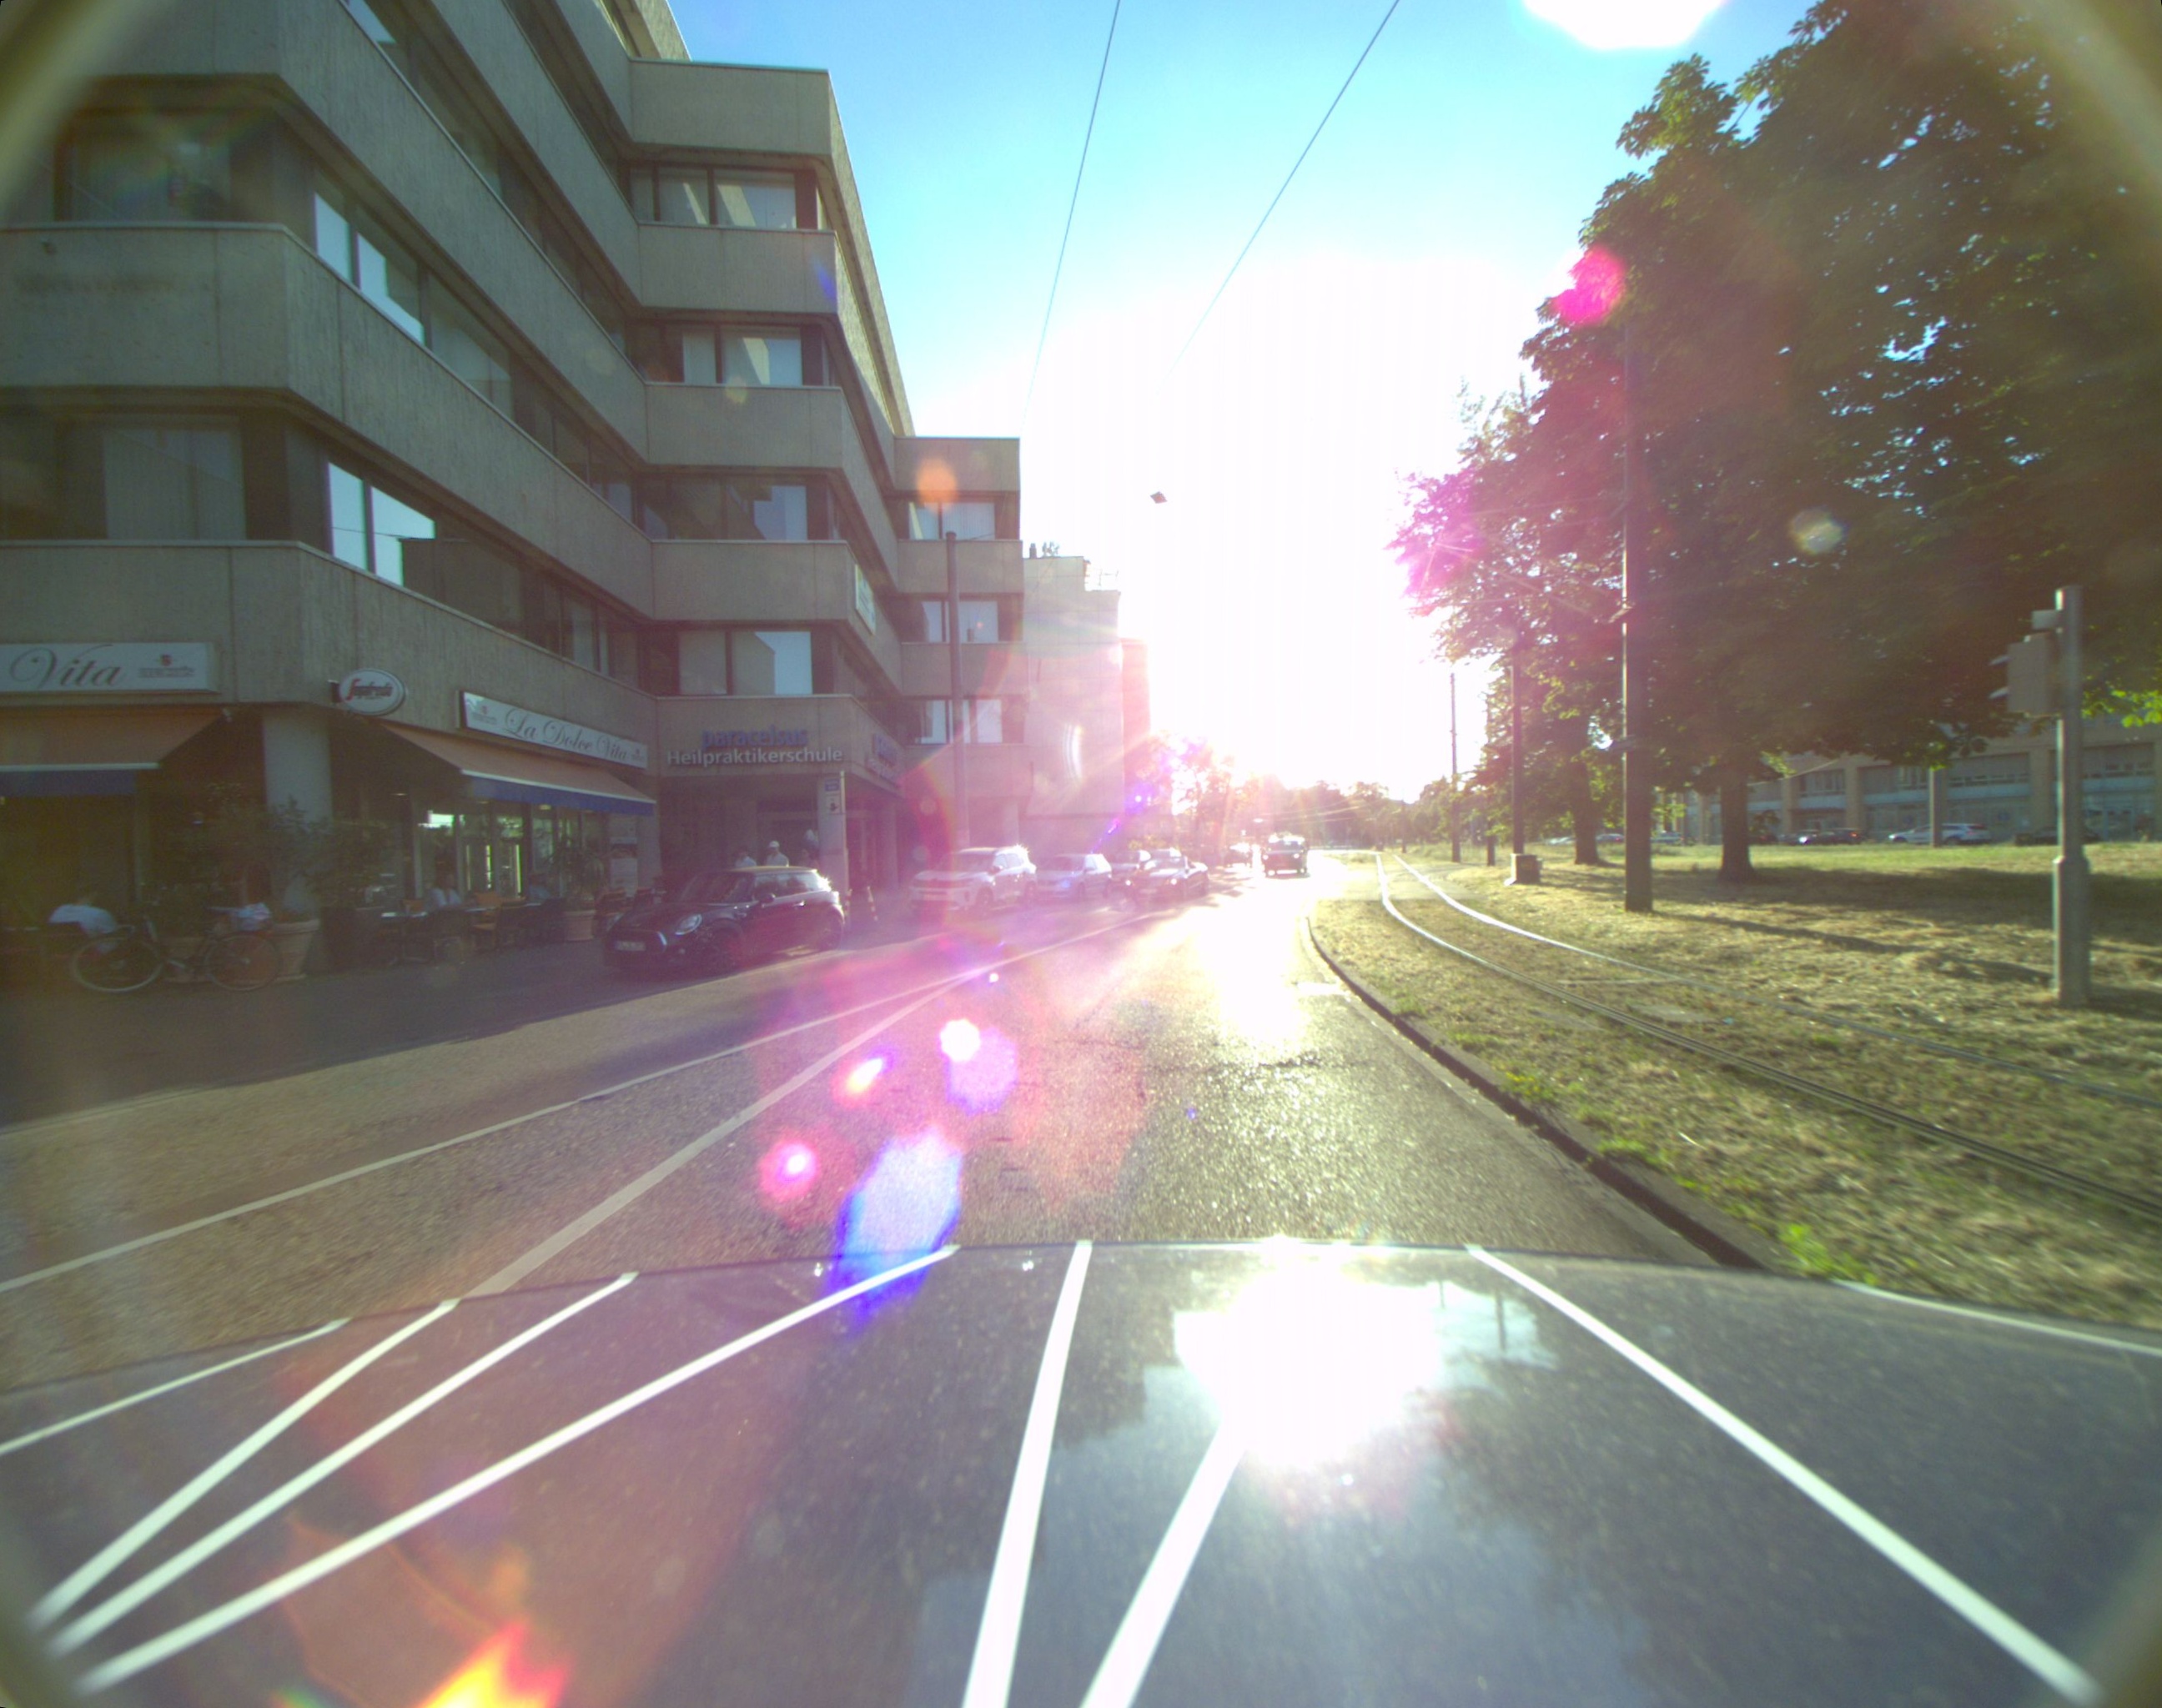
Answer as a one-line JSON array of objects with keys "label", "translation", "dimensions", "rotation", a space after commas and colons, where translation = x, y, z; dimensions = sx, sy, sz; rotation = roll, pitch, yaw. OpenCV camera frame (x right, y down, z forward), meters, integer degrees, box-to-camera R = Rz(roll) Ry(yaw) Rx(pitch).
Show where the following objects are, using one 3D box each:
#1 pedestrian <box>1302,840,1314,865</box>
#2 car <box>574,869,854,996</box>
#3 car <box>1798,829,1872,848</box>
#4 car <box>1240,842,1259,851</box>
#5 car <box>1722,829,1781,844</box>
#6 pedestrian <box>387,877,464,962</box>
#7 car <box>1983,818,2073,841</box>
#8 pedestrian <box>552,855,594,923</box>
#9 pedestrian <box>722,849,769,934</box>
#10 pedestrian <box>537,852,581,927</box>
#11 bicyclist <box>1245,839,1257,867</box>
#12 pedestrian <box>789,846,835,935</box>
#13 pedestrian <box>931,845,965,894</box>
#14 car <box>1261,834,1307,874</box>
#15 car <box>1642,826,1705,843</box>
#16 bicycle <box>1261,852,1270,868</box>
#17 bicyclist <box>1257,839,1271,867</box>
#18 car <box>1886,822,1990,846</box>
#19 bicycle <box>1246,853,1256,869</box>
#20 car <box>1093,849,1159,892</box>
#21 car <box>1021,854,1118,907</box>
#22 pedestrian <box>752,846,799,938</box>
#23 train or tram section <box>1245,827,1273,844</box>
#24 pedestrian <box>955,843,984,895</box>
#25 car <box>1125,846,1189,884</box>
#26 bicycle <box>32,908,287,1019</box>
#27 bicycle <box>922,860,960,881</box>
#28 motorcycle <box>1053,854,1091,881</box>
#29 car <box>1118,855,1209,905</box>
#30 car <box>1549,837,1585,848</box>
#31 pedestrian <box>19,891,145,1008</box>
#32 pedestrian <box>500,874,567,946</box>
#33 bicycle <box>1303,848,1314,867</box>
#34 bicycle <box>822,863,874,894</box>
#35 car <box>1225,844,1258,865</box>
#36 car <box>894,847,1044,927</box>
[{"label": "pedestrian", "translation": [14.804, -0.102, 49.567], "dimensions": [0.678, 1.639, 0.902], "rotation": [-3, 1, 14]}, {"label": "car", "translation": [-5.327, 1.031, 11.638], "dimensions": [1.664, 1.433, 3.827], "rotation": [1, 1, 18]}, {"label": "car", "translation": [56.307, -1.121, 56.806], "dimensions": [1.651, 1.274, 3.738], "rotation": [-2, 0, -6]}, {"label": "car", "translation": [29.091, -1.215, 131.190], "dimensions": [1.843, 1.393, 4.581], "rotation": [-4, 1, -6]}, {"label": "car", "translation": [55.692, -1.420, 63.174], "dimensions": [1.524, 1.147, 3.597], "rotation": [-2, 0, -4]}, {"label": "pedestrian", "translation": [-10.432, 1.027, 12.119], "dimensions": [0.653, 1.274, 0.661], "rotation": [0, 2, -9]}, {"label": "car", "translation": [64.342, -1.648, 51.720], "dimensions": [1.554, 1.346, 3.518], "rotation": [-3, 0, -8]}, {"label": "pedestrian", "translation": [-12.607, 0.848, 18.877], "dimensions": [0.598, 1.640, 0.521], "rotation": [-3, 1, -3]}, {"label": "pedestrian", "translation": [-7.069, 0.763, 16.017], "dimensions": [0.623, 1.730, 0.662], "rotation": [2, 2, 22]}, {"label": "pedestrian", "translation": [-12.538, 0.848, 18.274], "dimensions": [0.598, 1.749, 0.521], "rotation": [-3, 1, -3]}, {"label": "bicyclist", "translation": [11.058, -0.048, 49.449], "dimensions": [0.675, 1.797, 0.994], "rotation": [-2, 1, 12]}, {"label": "pedestrian", "translation": [-5.450, 0.717, 15.386], "dimensions": [0.579, 1.750, 0.662], "rotation": [2, 2, 22]}, {"label": "pedestrian", "translation": [-4.613, 0.543, 26.447], "dimensions": [0.991, 1.664, 0.642], "rotation": [-1, 1, 7]}, {"label": "car", "translation": [10.975, -0.050, 40.917], "dimensions": [1.917, 1.978, 4.953], "rotation": [-2, 1, 20]}, {"label": "car", "translation": [55.338, -1.801, 71.130], "dimensions": [1.894, 1.472, 4.779], "rotation": [-3, 1, -4]}, {"label": "bicycle", "translation": [11.977, 0.386, 49.235], "dimensions": [0.479, 1.022, 1.983], "rotation": [-2, 0, 12]}, {"label": "bicyclist", "translation": [11.894, -0.090, 49.396], "dimensions": [0.828, 1.797, 1.058], "rotation": [-2, 1, 12]}, {"label": "car", "translation": [56.987, -1.303, 50.645], "dimensions": [1.776, 1.474, 4.306], "rotation": [-2, 0, -8]}, {"label": "bicycle", "translation": [11.096, 0.428, 49.559], "dimensions": [0.576, 1.022, 1.858], "rotation": [-2, 0, 12]}, {"label": "car", "translation": [1.836, 0.596, 29.967], "dimensions": [1.609, 1.548, 3.615], "rotation": [1, 2, 20]}, {"label": "car", "translation": [-0.276, 0.759, 24.065], "dimensions": [1.663, 1.433, 3.860], "rotation": [1, 2, 22]}, {"label": "pedestrian", "translation": [-6.348, 0.772, 15.798], "dimensions": [0.623, 1.848, 0.662], "rotation": [2, 2, 22]}, {"label": "train or tram section", "translation": [42.549, -4.361, 181.680], "dimensions": [2.781, 3.515, 13.246], "rotation": [-2, 0, -3]}, {"label": "pedestrian", "translation": [-3.801, 0.506, 25.896], "dimensions": [0.698, 1.717, 1.033], "rotation": [-1, 1, 7]}, {"label": "car", "translation": [3.534, 0.453, 34.454], "dimensions": [1.783, 1.548, 4.240], "rotation": [1, 2, 21]}, {"label": "bicycle", "translation": [-10.373, 1.206, 8.628], "dimensions": [1.817, 1.112, 0.534], "rotation": [0, 1, -18]}, {"label": "bicycle", "translation": [-7.306, 0.865, 39.722], "dimensions": [1.867, 1.068, 0.484], "rotation": [0, 1, 8]}, {"label": "motorcycle", "translation": [-0.437, 0.659, 37.656], "dimensions": [1.786, 1.324, 0.583], "rotation": [0, 1, 9]}, {"label": "car", "translation": [2.635, 0.759, 23.405], "dimensions": [1.773, 1.300, 4.246], "rotation": [-2, 1, 20]}, {"label": "car", "translation": [69.947, -1.630, 109.337], "dimensions": [3.997, 1.412, 1.902], "rotation": [-1, 1, 1]}, {"label": "pedestrian", "translation": [-11.647, 1.093, 8.886], "dimensions": [0.554, 1.274, 0.652], "rotation": [0, 2, -7]}, {"label": "pedestrian", "translation": [-10.224, 1.026, 14.213], "dimensions": [0.768, 1.274, 0.661], "rotation": [0, 2, -8]}, {"label": "bicycle", "translation": [14.843, 0.202, 49.630], "dimensions": [0.529, 1.152, 1.850], "rotation": [-3, 2, 14]}, {"label": "bicycle", "translation": [-8.341, 0.864, 27.243], "dimensions": [1.760, 1.066, 0.483], "rotation": [0, 1, -18]}, {"label": "car", "translation": [12.294, 0.021, 58.086], "dimensions": [1.729, 1.464, 3.905], "rotation": [1, 2, 23]}, {"label": "car", "translation": [-2.651, 0.708, 19.200], "dimensions": [1.869, 1.704, 4.511], "rotation": [1, 2, 19]}]
